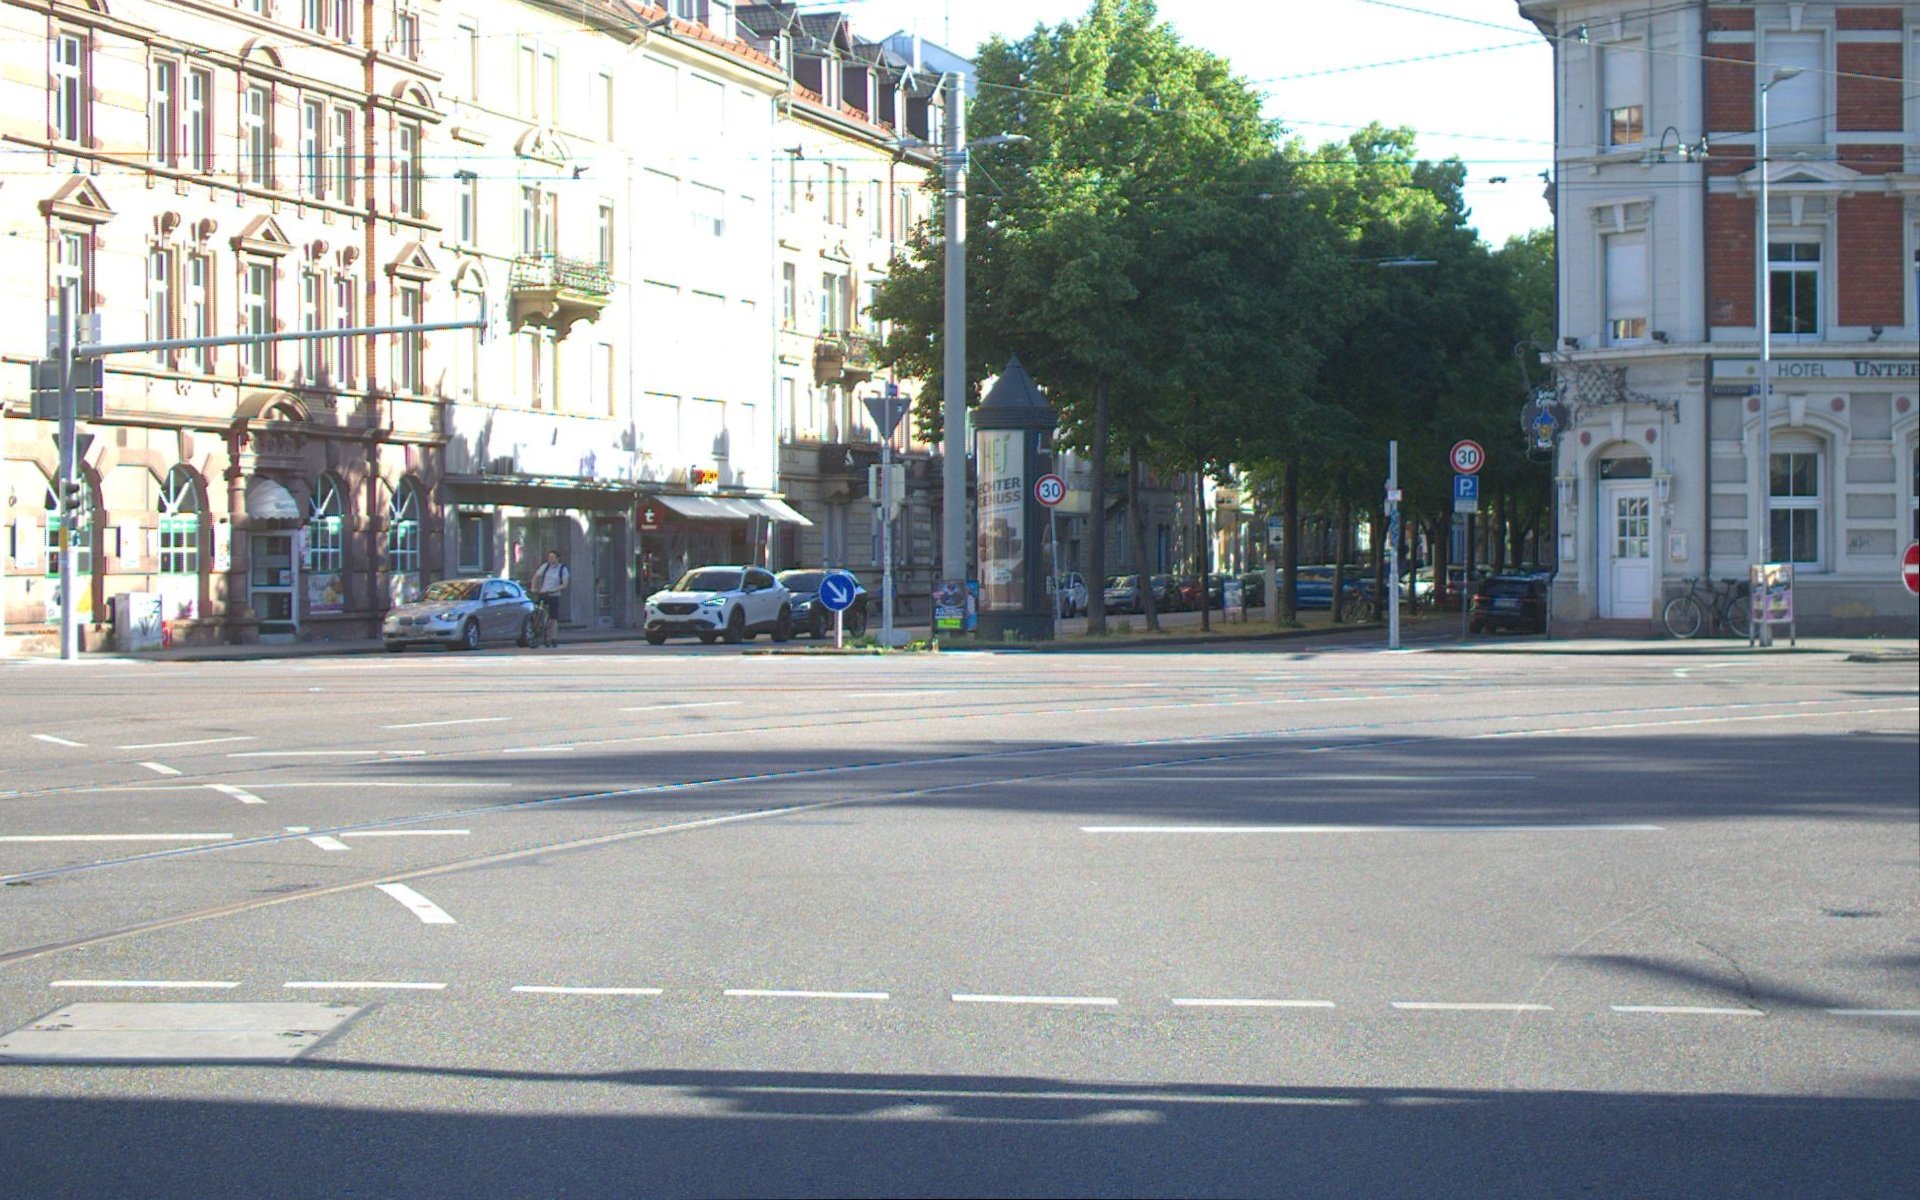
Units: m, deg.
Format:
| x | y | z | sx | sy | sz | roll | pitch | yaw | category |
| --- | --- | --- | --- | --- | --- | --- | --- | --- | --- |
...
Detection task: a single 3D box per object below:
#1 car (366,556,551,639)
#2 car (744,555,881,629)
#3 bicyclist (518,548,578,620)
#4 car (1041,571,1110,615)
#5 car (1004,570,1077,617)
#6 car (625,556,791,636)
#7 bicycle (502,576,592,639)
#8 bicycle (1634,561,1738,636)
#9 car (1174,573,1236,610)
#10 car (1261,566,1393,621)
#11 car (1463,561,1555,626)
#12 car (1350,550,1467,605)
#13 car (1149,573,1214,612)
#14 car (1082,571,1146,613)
| x | y | z | sx | sy | sz | roll | pitch | yaw | category |
| --- | --- | --- | --- | --- | --- | --- | --- | --- | --- |
| -9.774 | -0.068 | 67.376 | 2.098 | 1.540 | 4.361 | 0 | 1 | 14 | car |
| -3.127 | -0.187 | 73.529 | 1.994 | 1.508 | 3.998 | 0 | 1 | 12 | car |
| -7.850 | -0.312 | 65.587 | 0.794 | 1.370 | 1.107 | 0 | 1 | 14 | bicyclist |
| 3.921 | -0.251 | 115.803 | 1.741 | 1.393 | 4.122 | 3 | 1 | 9 | car |
| 2.597 | -0.212 | 109.998 | 1.741 | 1.393 | 4.122 | 3 | 1 | 9 | car |
| -4.876 | -0.100 | 67.162 | 2.098 | 1.494 | 3.998 | 0 | 1 | 14 | car |
| -7.864 | 0.130 | 65.625 | 0.751 | 1.131 | 2.808 | 0 | 1 | 14 | bicycle |
| 12.065 | -0.029 | 57.131 | 1.639 | 1.218 | 0.606 | 0 | 1 | 16 | bicycle |
| 9.725 | -0.343 | 136.383 | 1.742 | 1.393 | 4.121 | 3 | 1 | 13 | car |
| 12.291 | -0.221 | 115.223 | 4.113 | 1.640 | 1.745 | 3 | 1 | 15 | car |
| 13.169 | -0.151 | 82.283 | 1.652 | 1.519 | 3.750 | 0 | 0 | 17 | car |
| 17.408 | -0.871 | 133.422 | 4.115 | 1.912 | 1.744 | 3 | 1 | 21 | car |
| 8.507 | -0.308 | 131.605 | 1.742 | 1.393 | 4.121 | 3 | 1 | 13 | car |
| 5.507 | -0.298 | 122.780 | 1.741 | 1.393 | 4.122 | 3 | 1 | 9 | car |
